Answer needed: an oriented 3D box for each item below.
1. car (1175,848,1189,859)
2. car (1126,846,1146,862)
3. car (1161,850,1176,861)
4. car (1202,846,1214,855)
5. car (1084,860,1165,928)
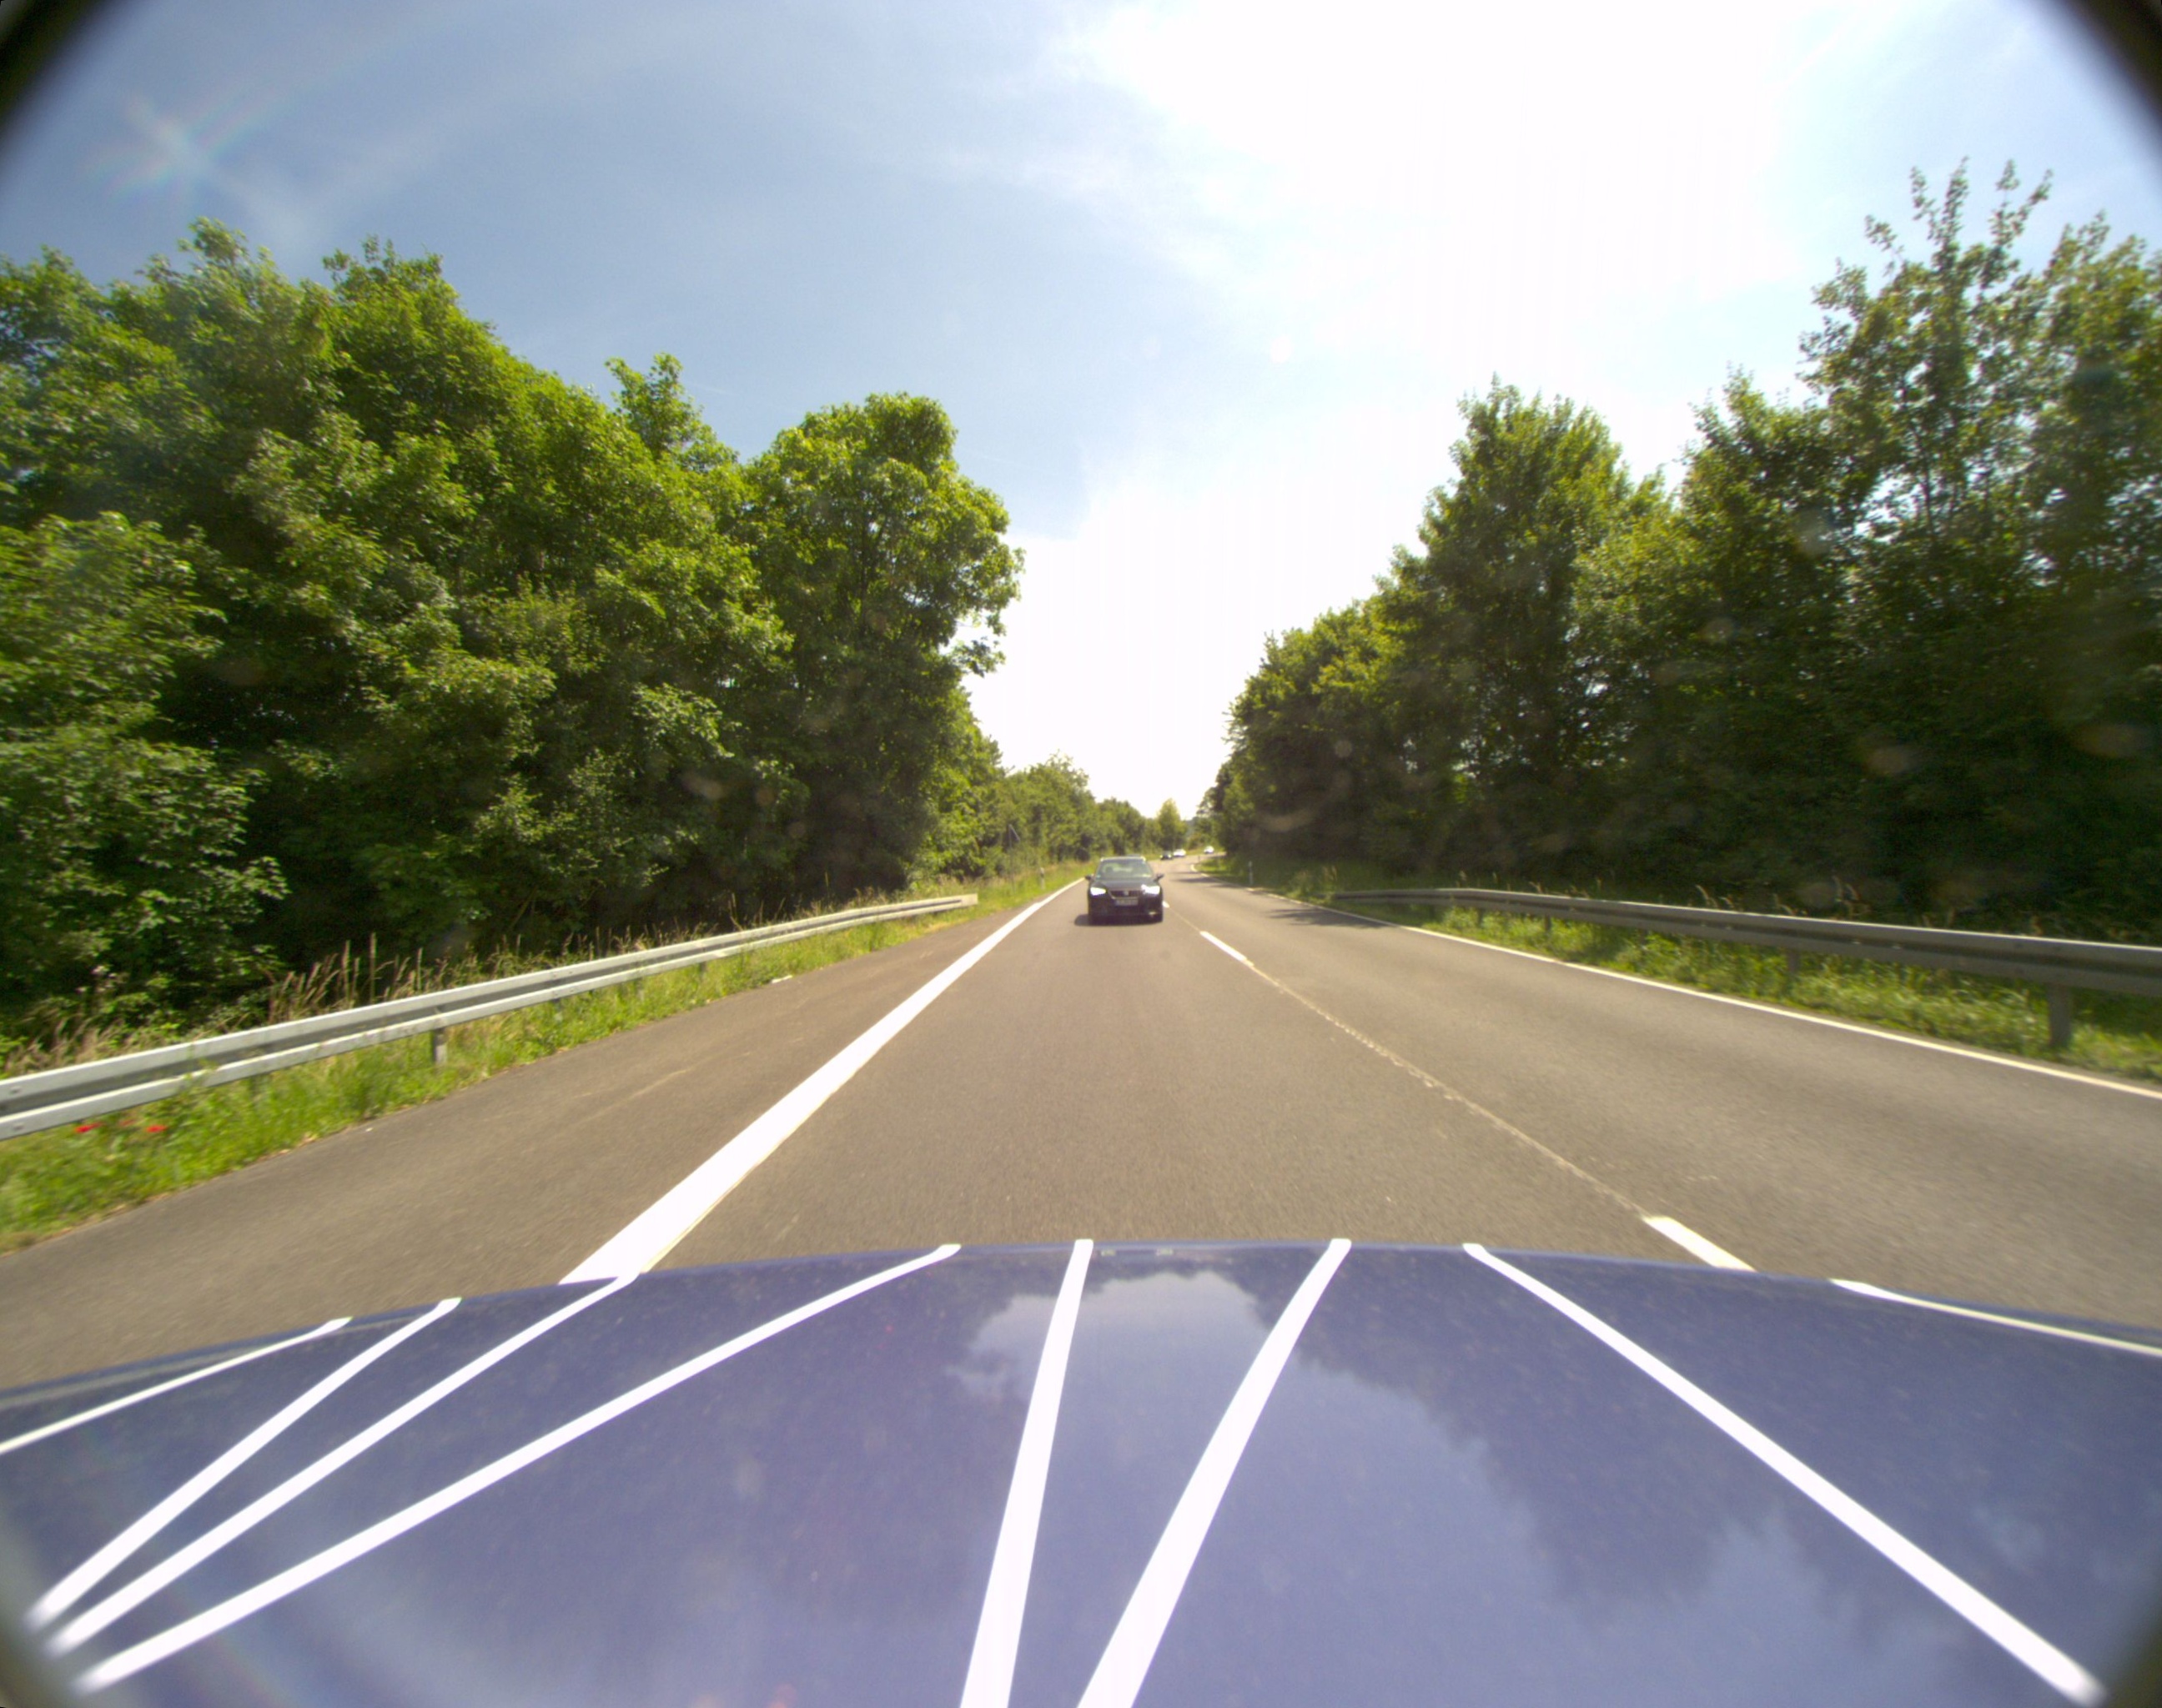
[{"bbox_3d":[18.852,-0.126,141.850,1.996,2.002,4.004,-1,0,14],"label":"car"},{"bbox_3d":[5.945,0.042,82.085,1.882,1.698,4.002,-1,-1,7],"label":"car"},{"bbox_3d":[13.890,0.251,120.172,1.881,1.698,4.005,-2,-1,13],"label":"car"},{"bbox_3d":[29.119,-0.824,173.916,1.996,2.002,4.005,-2,0,19],"label":"car"},{"bbox_3d":[1.104,0.907,18.724,1.737,1.467,4.002,-1,-1,4],"label":"car"}]
